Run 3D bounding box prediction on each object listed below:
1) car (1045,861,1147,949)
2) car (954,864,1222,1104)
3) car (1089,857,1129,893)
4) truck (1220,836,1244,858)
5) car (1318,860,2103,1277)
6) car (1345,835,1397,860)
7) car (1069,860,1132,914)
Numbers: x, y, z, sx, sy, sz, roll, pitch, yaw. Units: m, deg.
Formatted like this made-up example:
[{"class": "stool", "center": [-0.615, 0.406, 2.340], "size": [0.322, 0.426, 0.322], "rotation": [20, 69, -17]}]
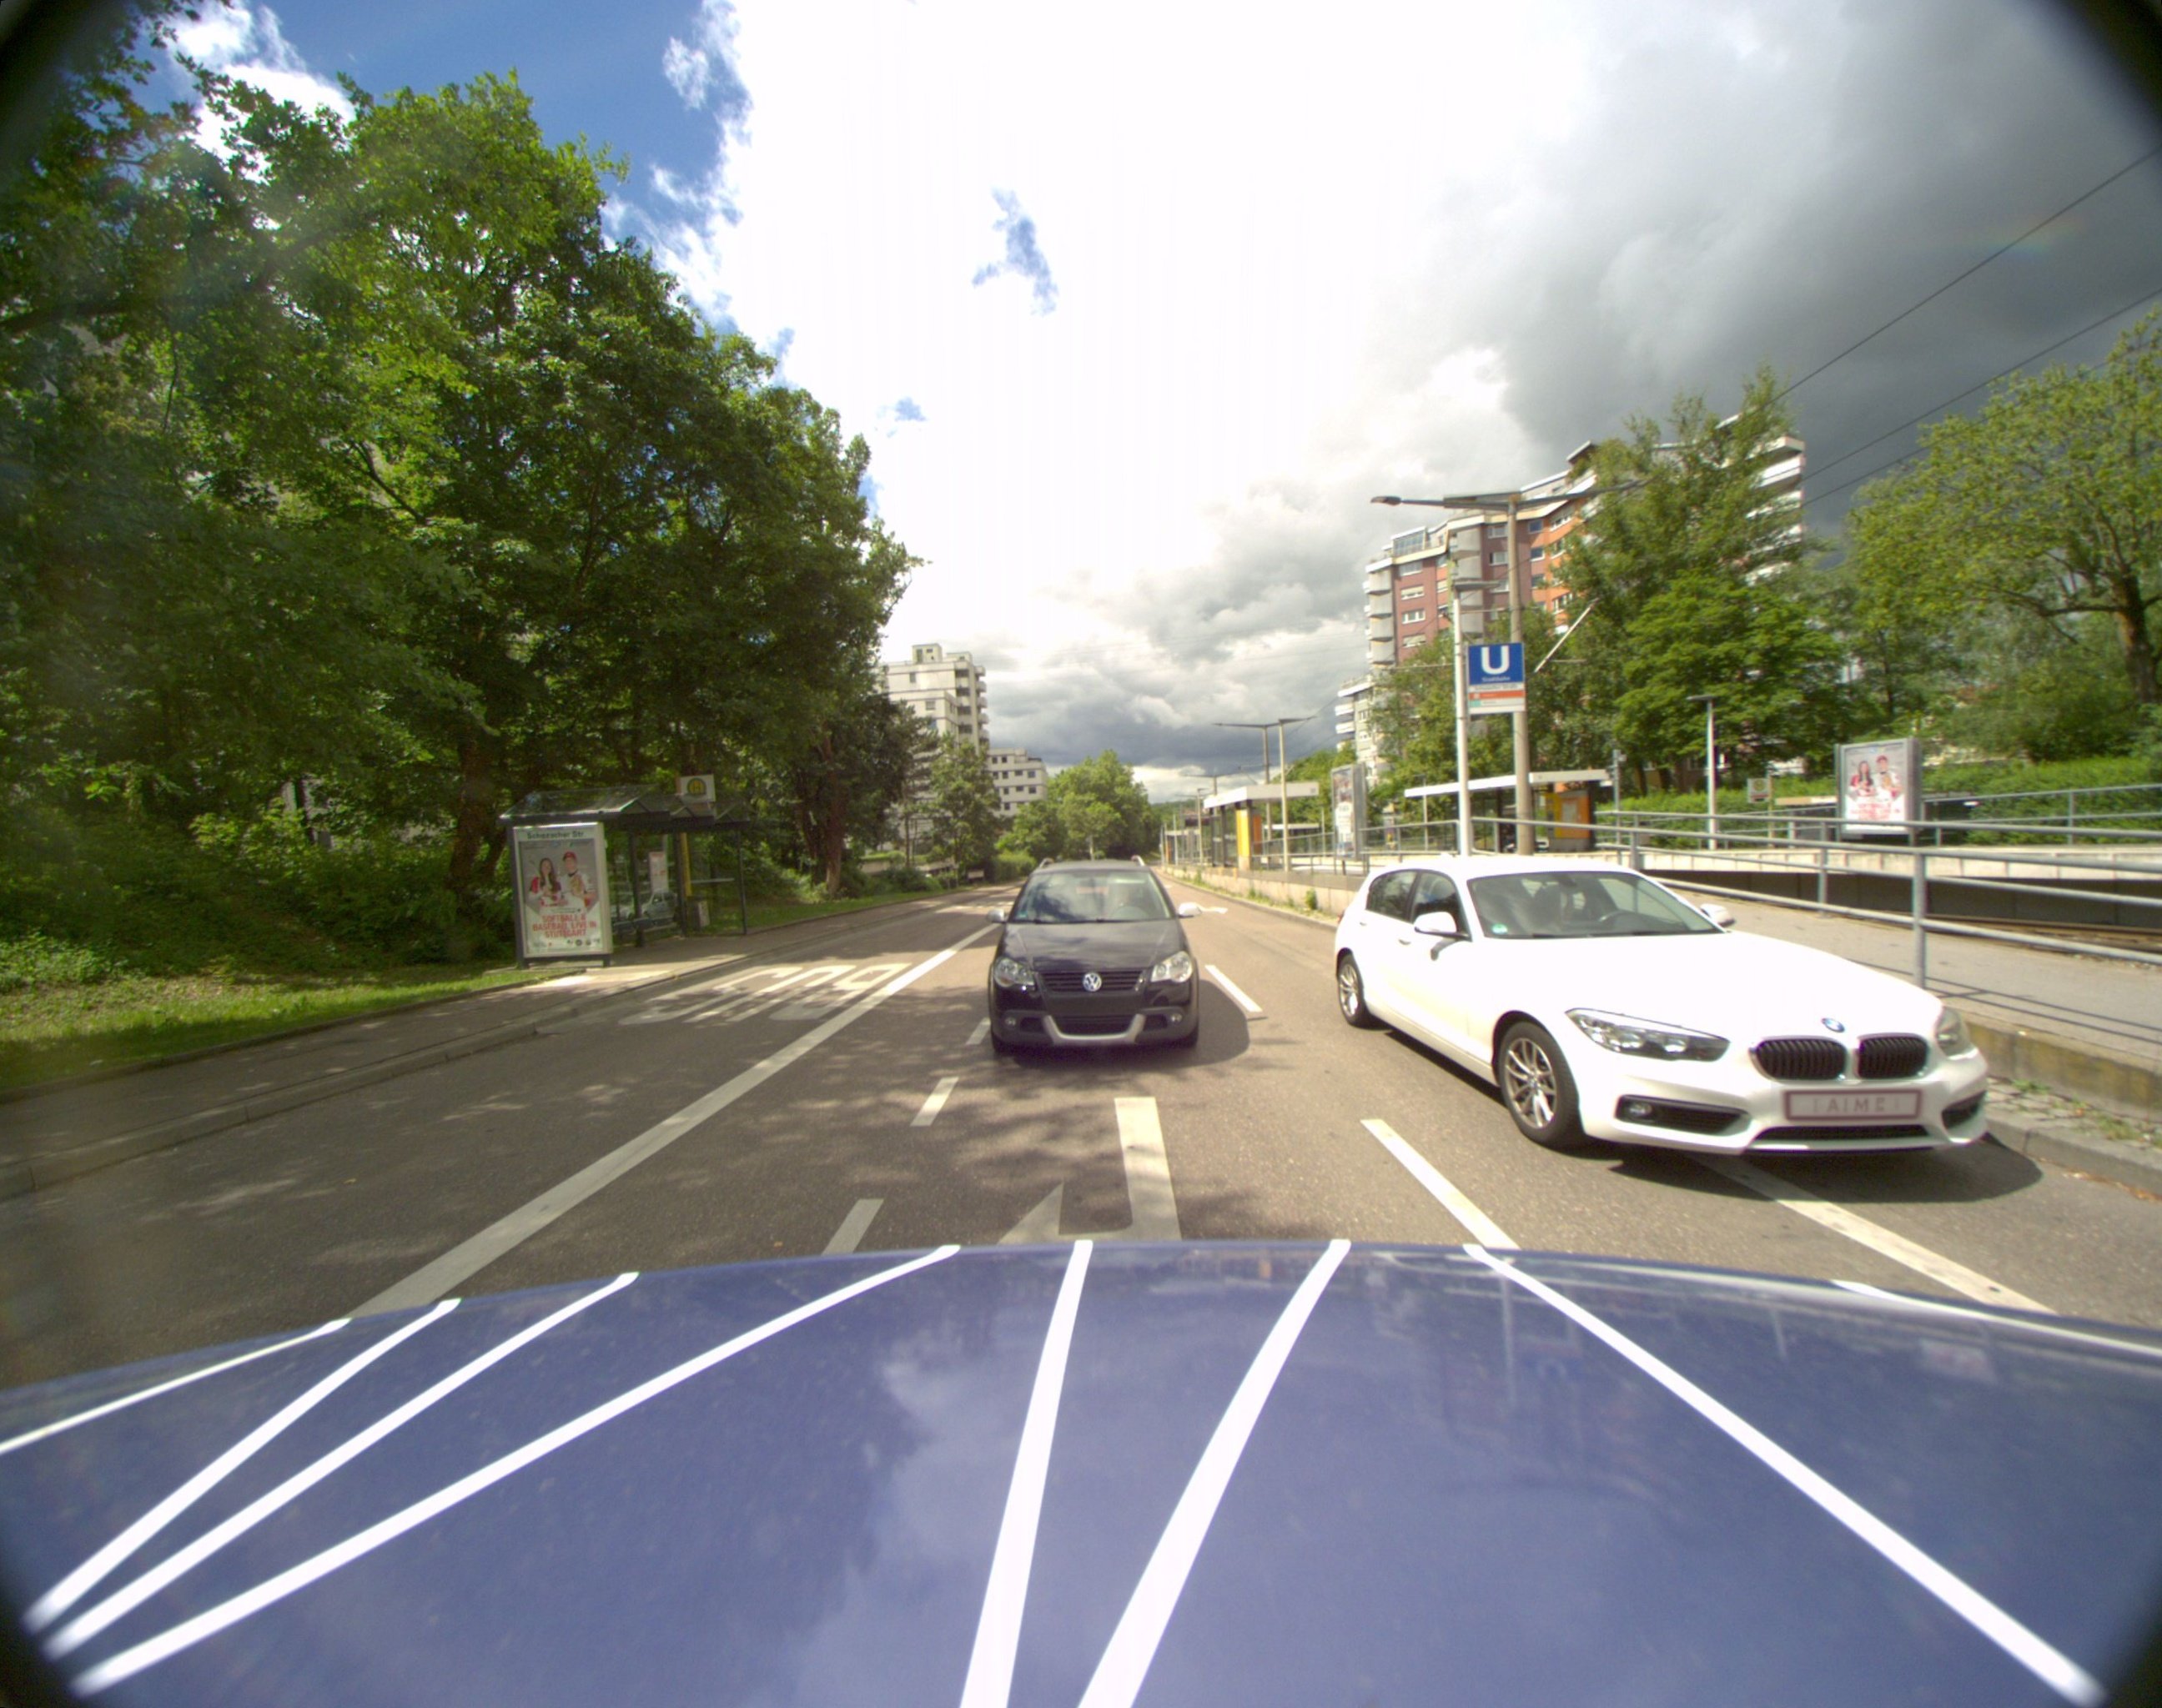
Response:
[{"class": "car", "center": [0.289, 0.914, 15.352], "size": [1.732, 1.453, 4.000], "rotation": [-2, 0, 1]}, {"class": "car", "center": [0.078, 0.895, 7.081], "size": [1.732, 1.501, 4.000], "rotation": [-2, 0, 1]}, {"class": "car", "center": [1.281, 0.944, 35.951], "size": [1.732, 1.505, 4.000], "rotation": [-2, 1, 1]}, {"class": "truck", "center": [24.140, -1.085, 122.074], "size": [2.420, 3.203, 7.263], "rotation": [-2, 0, 1]}, {"class": "car", "center": [3.013, 0.834, 4.878], "size": [1.732, 1.453, 4.000], "rotation": [-2, 1, 1]}, {"class": "car", "center": [19.887, -0.455, 52.276], "size": [1.998, 1.625, 4.460], "rotation": [-1, 0, 2]}, {"class": "car", "center": [0.653, 0.948, 23.386], "size": [1.732, 1.452, 4.001], "rotation": [-2, 0, 3]}]
